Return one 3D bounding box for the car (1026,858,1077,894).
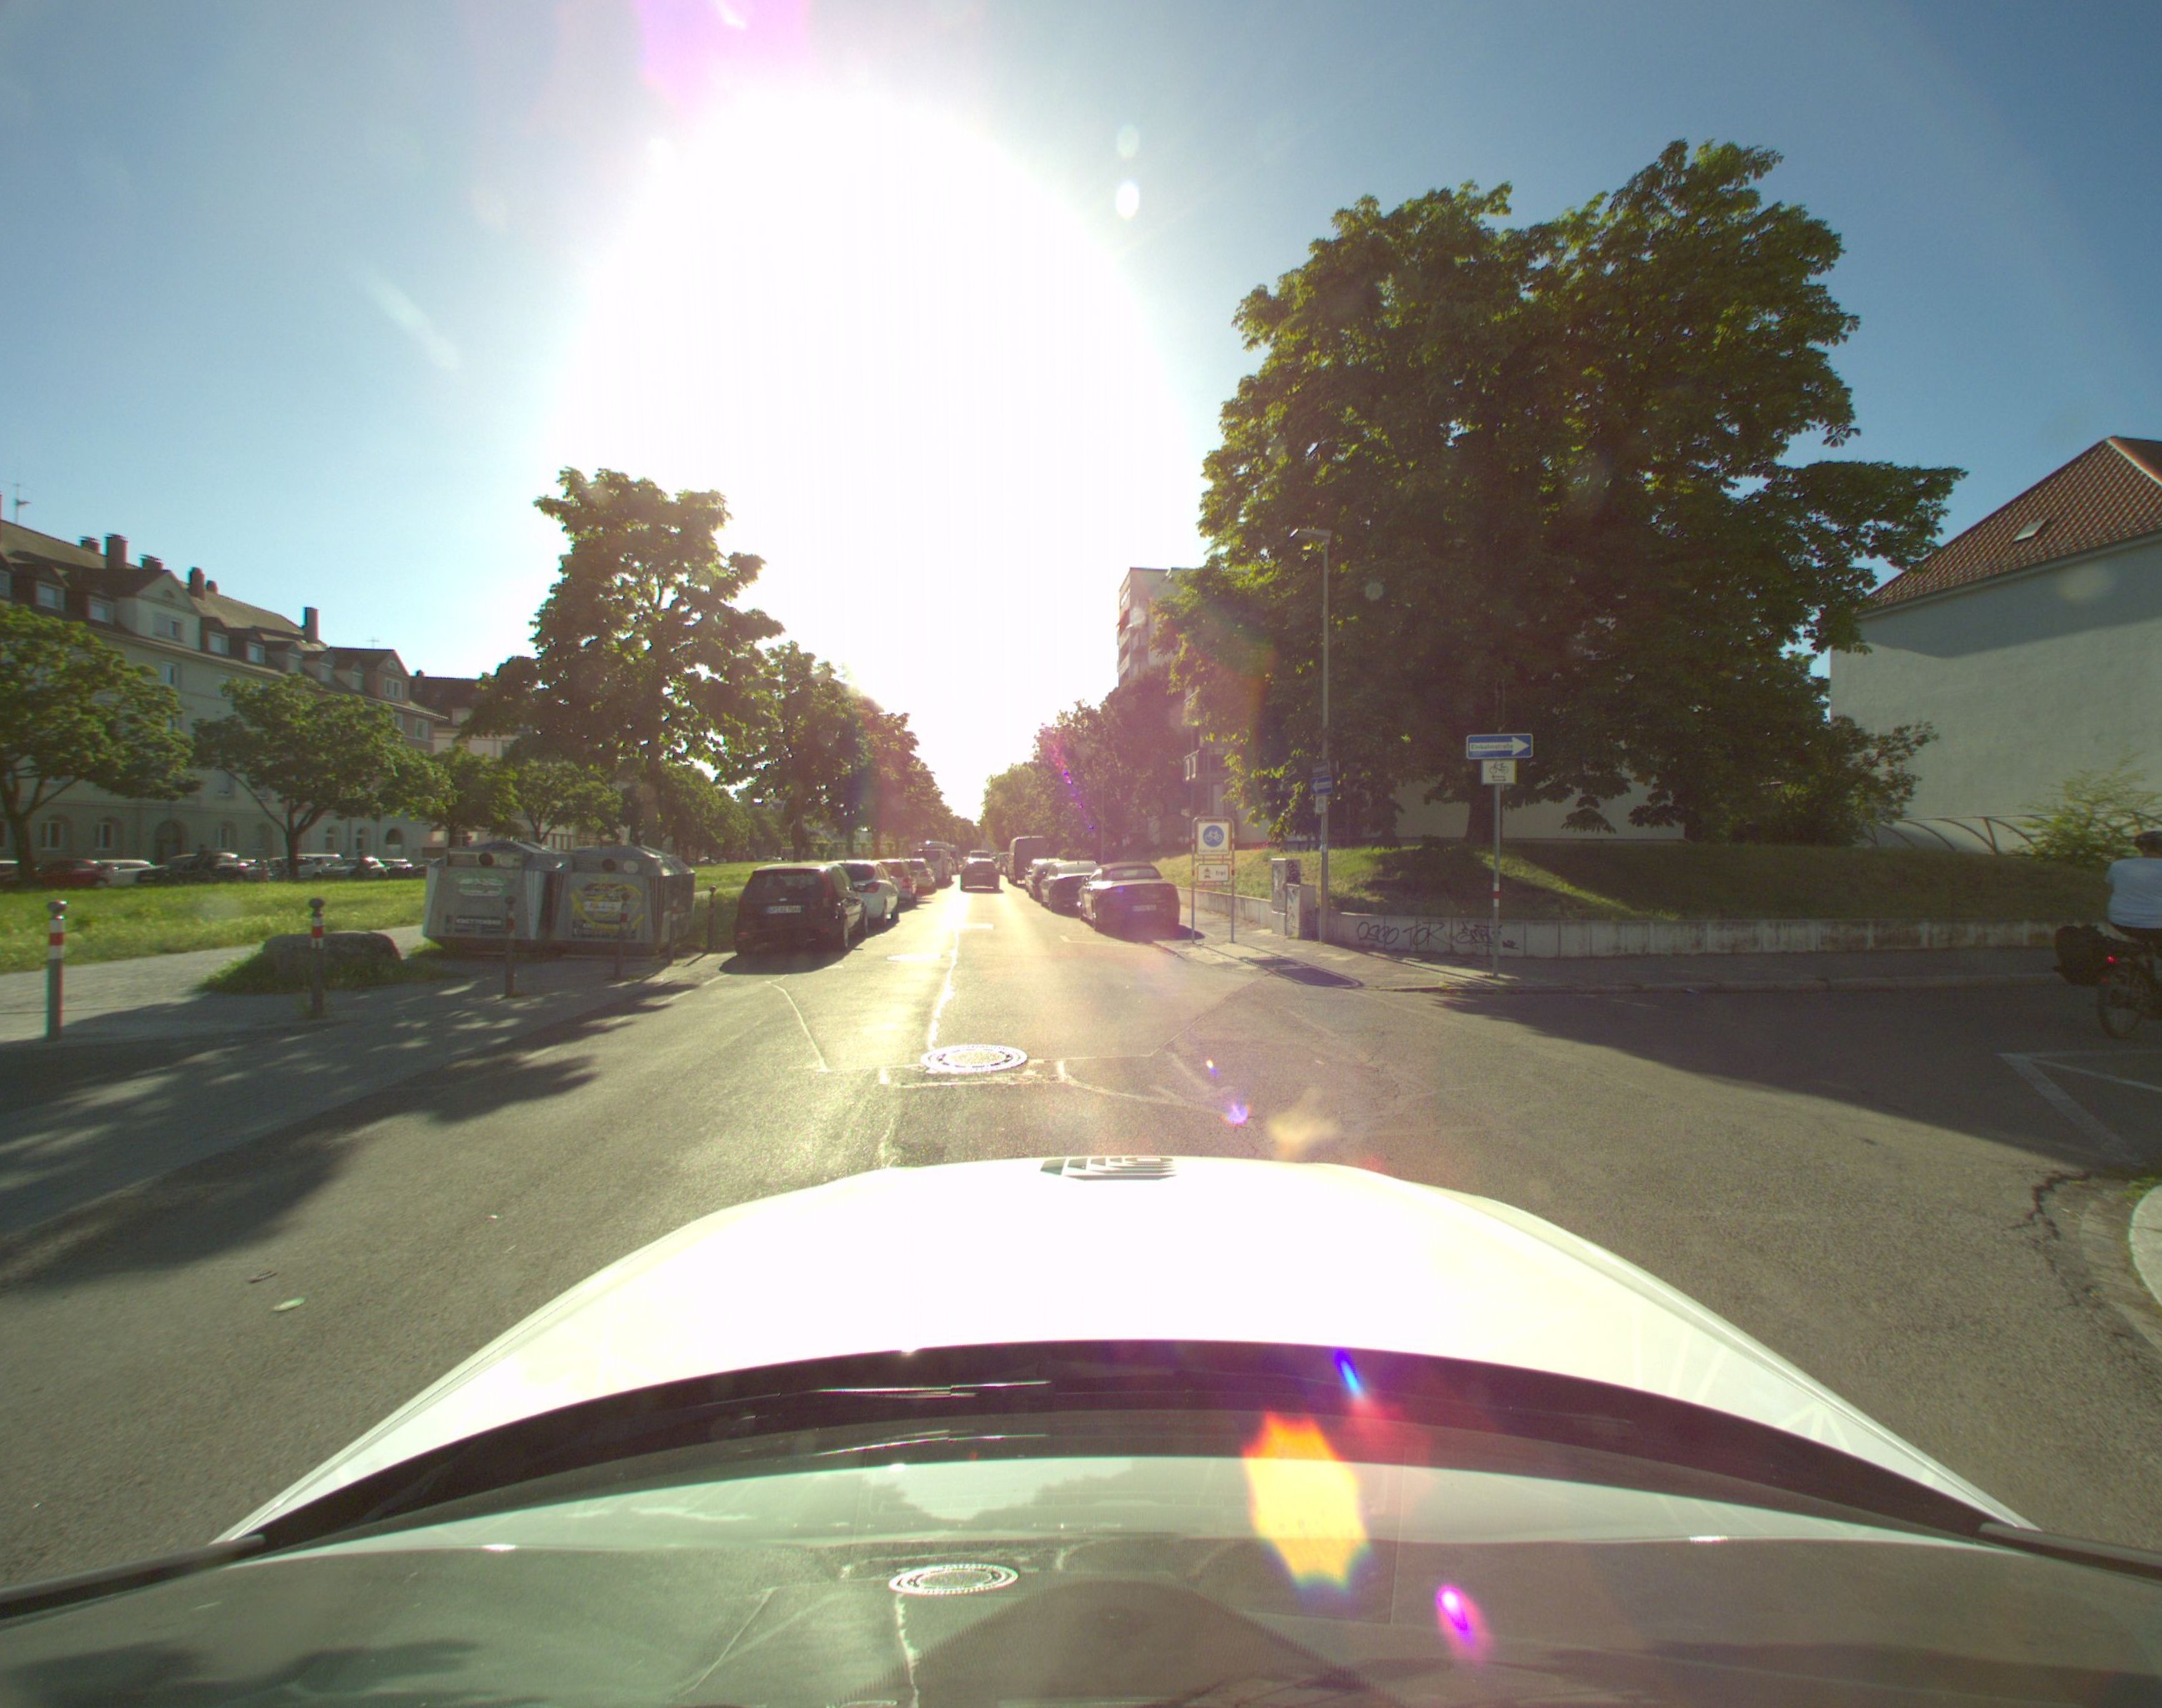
[{"bbox_3d":[-1.353,0.928,35.886,1.986,1.487,4.118,0,0,-6],"label":"car"}]

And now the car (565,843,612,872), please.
[{"bbox_3d":[-48.287,0.300,79.994,1.915,2.744,5.607,0,0,-9],"label":"car"}]

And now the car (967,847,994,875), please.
[{"bbox_3d":[-7.672,0.527,62.336,1.892,1.991,4.002,-1,0,-6],"label":"car"}]

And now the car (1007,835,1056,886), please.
[{"bbox_3d":[-2.857,0.336,45.867,2.163,2.689,5.398,0,0,-10],"label":"car"}]

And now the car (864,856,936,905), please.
[{"bbox_3d":[-5.814,0.806,26.601,1.777,1.461,4.118,0,0,-6],"label":"car"}]

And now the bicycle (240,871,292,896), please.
[{"bbox_3d":[-38.931,1.390,38.927,0.732,1.079,1.950,0,0,-8],"label":"bicycle"}]

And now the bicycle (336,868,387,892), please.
[{"bbox_3d":[-40.375,1.428,45.760,0.810,1.252,2.627,0,0,-8],"label":"bicycle"}]

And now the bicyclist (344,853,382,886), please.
[{"bbox_3d":[-40.385,0.884,45.809,0.941,1.837,1.445,-1,-1,-8],"label":"bicyclist"}]

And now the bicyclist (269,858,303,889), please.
[{"bbox_3d":[-37.861,0.937,38.804,0.737,1.437,0.940,-1,-1,-7],"label":"bicyclist"}]

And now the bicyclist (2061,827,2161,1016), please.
[{"bbox_3d":[9.503,0.573,7.253,0.788,1.596,0.694,0,0,-9],"label":"bicyclist"}]

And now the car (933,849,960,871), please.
[{"bbox_3d":[-11.634,0.505,70.586,2.007,1.785,4.118,0,0,-6],"label":"car"}]

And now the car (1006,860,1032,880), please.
[{"bbox_3d":[-4.931,1.262,64.349,1.986,1.487,4.118,0,0,-6],"label":"car"}]

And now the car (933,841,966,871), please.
[{"bbox_3d":[-12.218,0.171,76.207,2.613,2.645,6.102,0,0,-6],"label":"car"}]

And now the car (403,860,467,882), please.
[{"bbox_3d":[-45.516,1.181,57.477,1.844,1.440,3.766,0,0,-7],"label":"car"}]

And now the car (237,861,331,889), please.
[{"bbox_3d":[-43.827,1.137,44.880,1.692,1.429,3.767,0,0,-6],"label":"car"}]

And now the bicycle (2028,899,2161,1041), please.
[{"bbox_3d":[9.582,0.995,7.264,1.760,1.127,0.661,0,1,-10],"label":"bicycle"}]

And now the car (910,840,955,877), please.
[{"bbox_3d":[-8.094,0.220,44.684,2.096,1.942,4.117,0,0,-7],"label":"car"}]

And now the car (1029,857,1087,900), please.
[{"bbox_3d":[-0.941,0.866,30.851,1.778,1.487,4.020,0,0,-8],"label":"car"}]

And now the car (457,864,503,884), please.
[{"bbox_3d":[-45.705,1.518,61.994,1.517,1.440,3.221,0,0,-9],"label":"car"}]

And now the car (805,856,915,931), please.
[{"bbox_3d":[-4.945,0.830,18.737,1.775,1.495,3.867,-2,0,-6],"label":"car"}]

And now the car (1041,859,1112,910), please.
[{"bbox_3d":[-0.227,0.862,24.531,1.777,1.371,4.118,0,0,-6],"label":"car"}]

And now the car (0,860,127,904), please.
[{"bbox_3d":[-42.443,1.113,33.660,1.631,1.686,4.068,0,0,-9],"label":"car"}]

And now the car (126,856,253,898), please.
[{"bbox_3d":[-43.199,1.052,39.644,1.736,1.908,4.447,0,0,-9],"label":"car"}]

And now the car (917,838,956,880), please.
[{"bbox_3d":[-8.986,0.308,51.017,2.095,2.496,4.118,0,0,-6],"label":"car"}]

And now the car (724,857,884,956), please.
[{"bbox_3d":[-4.638,0.815,14.231,1.746,1.425,3.908,-2,-1,-6],"label":"car"}]

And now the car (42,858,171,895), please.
[{"bbox_3d":[-49.190,1.098,41.261,1.940,1.751,4.015,0,0,-8],"label":"car"}]

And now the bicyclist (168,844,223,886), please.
[{"bbox_3d":[-39.601,0.473,36.448,0.940,1.837,1.446,-1,-1,-7],"label":"bicyclist"}]

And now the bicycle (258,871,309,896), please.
[{"bbox_3d":[-37.862,1.379,38.698,0.732,1.079,1.950,0,0,-8],"label":"bicycle"}]

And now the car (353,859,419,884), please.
[{"bbox_3d":[-51.401,1.275,60.336,1.858,1.749,3.989,0,0,-8],"label":"car"}]

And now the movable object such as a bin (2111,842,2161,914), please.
[{"bbox_3d":[24.772,0.539,18.400,1.186,1.613,1.460,0,0,-8],"label":"movable object such as a bin"}]

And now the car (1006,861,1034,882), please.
[{"bbox_3d":[-4.546,1.240,59.908,1.986,1.487,4.118,0,0,-6],"label":"car"}]

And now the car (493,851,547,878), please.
[{"bbox_3d":[-46.556,0.848,67.687,1.694,2.213,4.992,0,0,-9],"label":"car"}]

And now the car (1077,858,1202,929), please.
[{"bbox_3d":[1.183,0.803,18.722,2.122,1.337,4.497,-2,0,-6],"label":"car"}]

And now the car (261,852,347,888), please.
[{"bbox_3d":[-50.513,0.986,53.089,1.775,2.259,4.451,0,0,-8],"label":"car"}]

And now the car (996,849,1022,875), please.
[{"bbox_3d":[-6.668,0.711,74.960,2.161,2.292,5.252,0,0,-7],"label":"car"}]

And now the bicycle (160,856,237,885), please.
[{"bbox_3d":[-39.562,0.713,36.561,0.809,1.252,2.629,0,0,-6],"label":"bicycle"}]

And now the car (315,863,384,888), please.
[{"bbox_3d":[-44.390,1.281,49.521,1.378,1.440,3.335,0,0,-6],"label":"car"}]

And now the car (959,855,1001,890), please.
[{"bbox_3d":[-4.679,0.832,38.164,1.777,1.531,3.992,1,0,-5],"label":"car"}]

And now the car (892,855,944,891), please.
[{"bbox_3d":[-7.181,0.810,36.282,1.830,1.500,4.118,0,0,-6],"label":"car"}]

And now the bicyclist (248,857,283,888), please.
[{"bbox_3d":[-38.906,0.894,38.882,0.737,1.437,0.940,1,0,-7],"label":"bicyclist"}]
